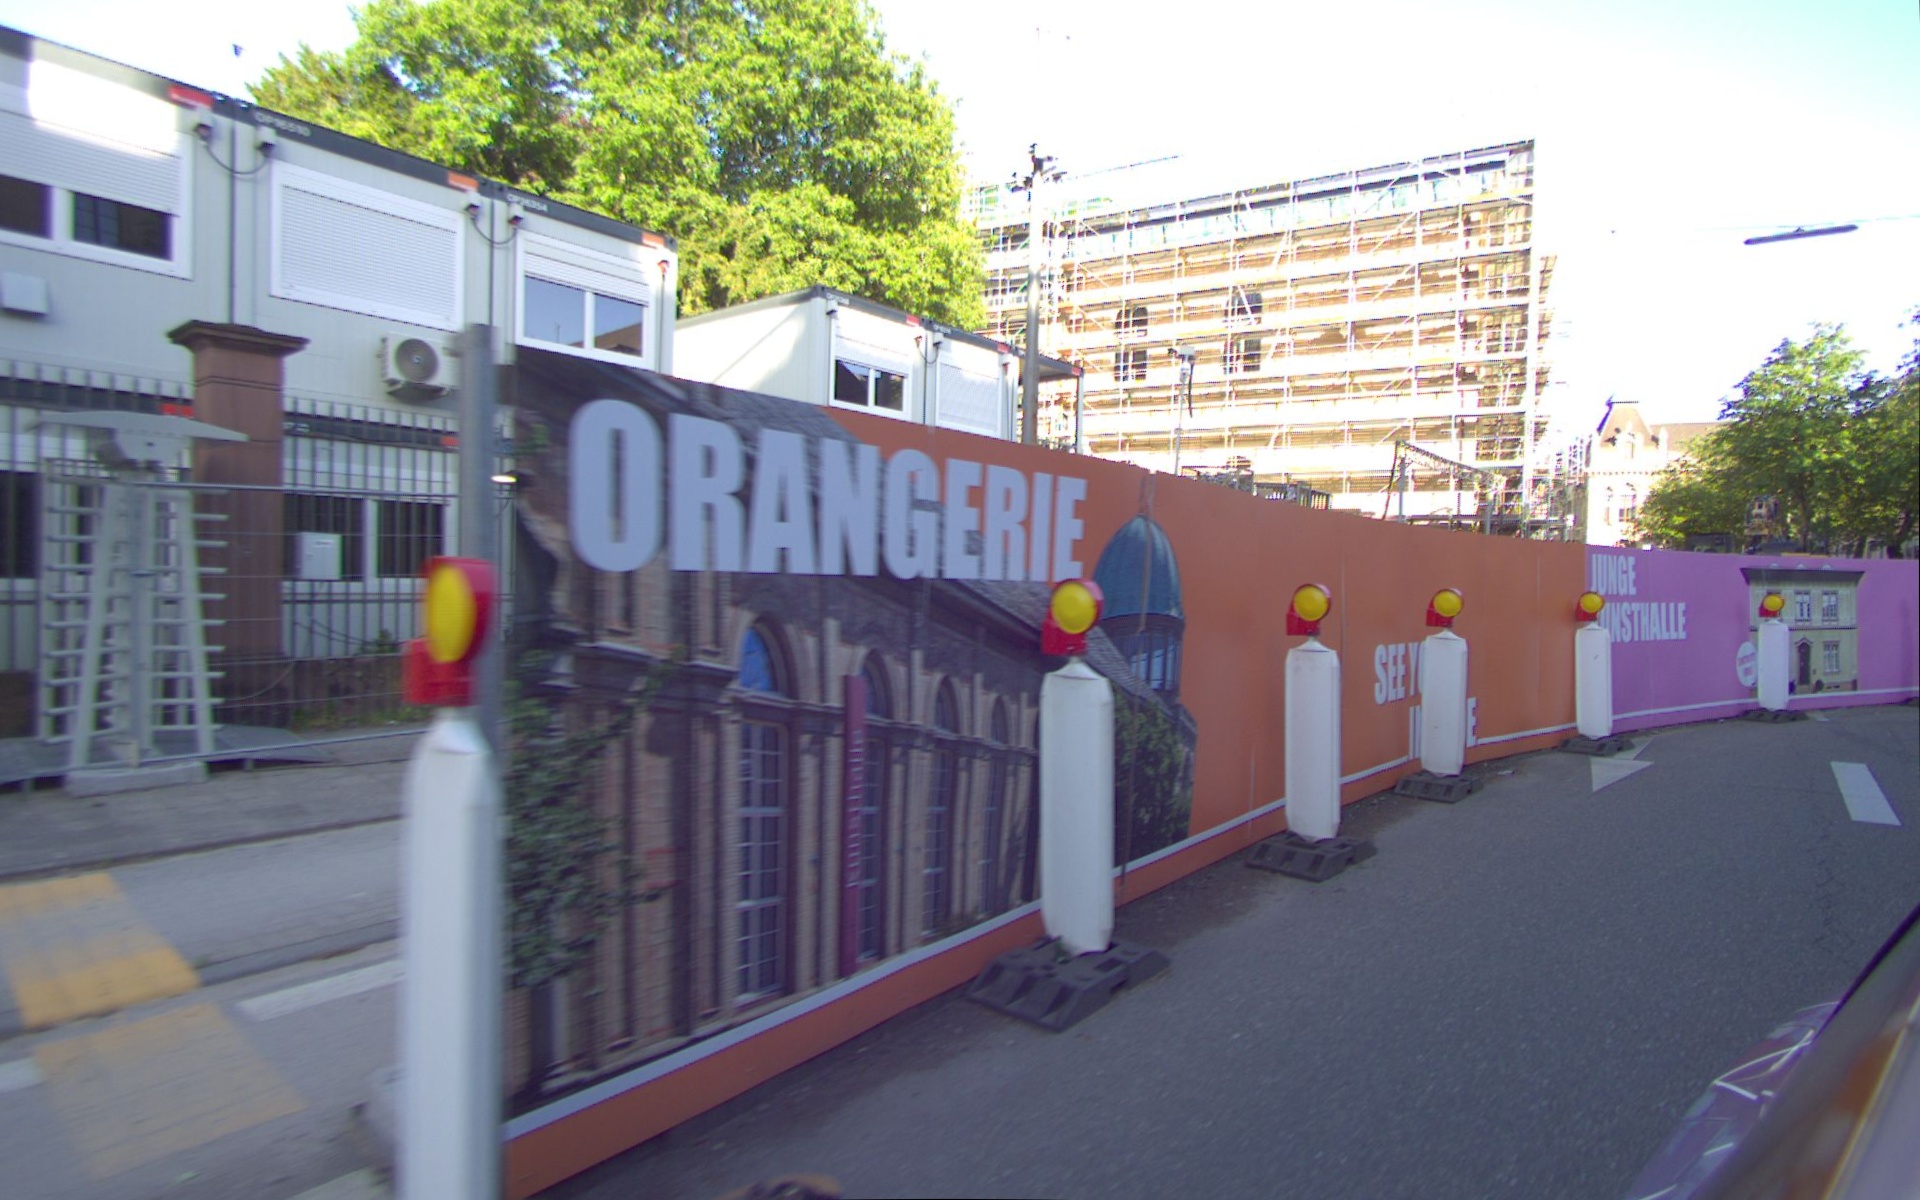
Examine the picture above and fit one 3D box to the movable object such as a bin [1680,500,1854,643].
[{"bbox_3d":[20.870,-0.755,26.257,3.158,3.340,4.323,4,2,39],"label":"movable object such as a bin"}]
